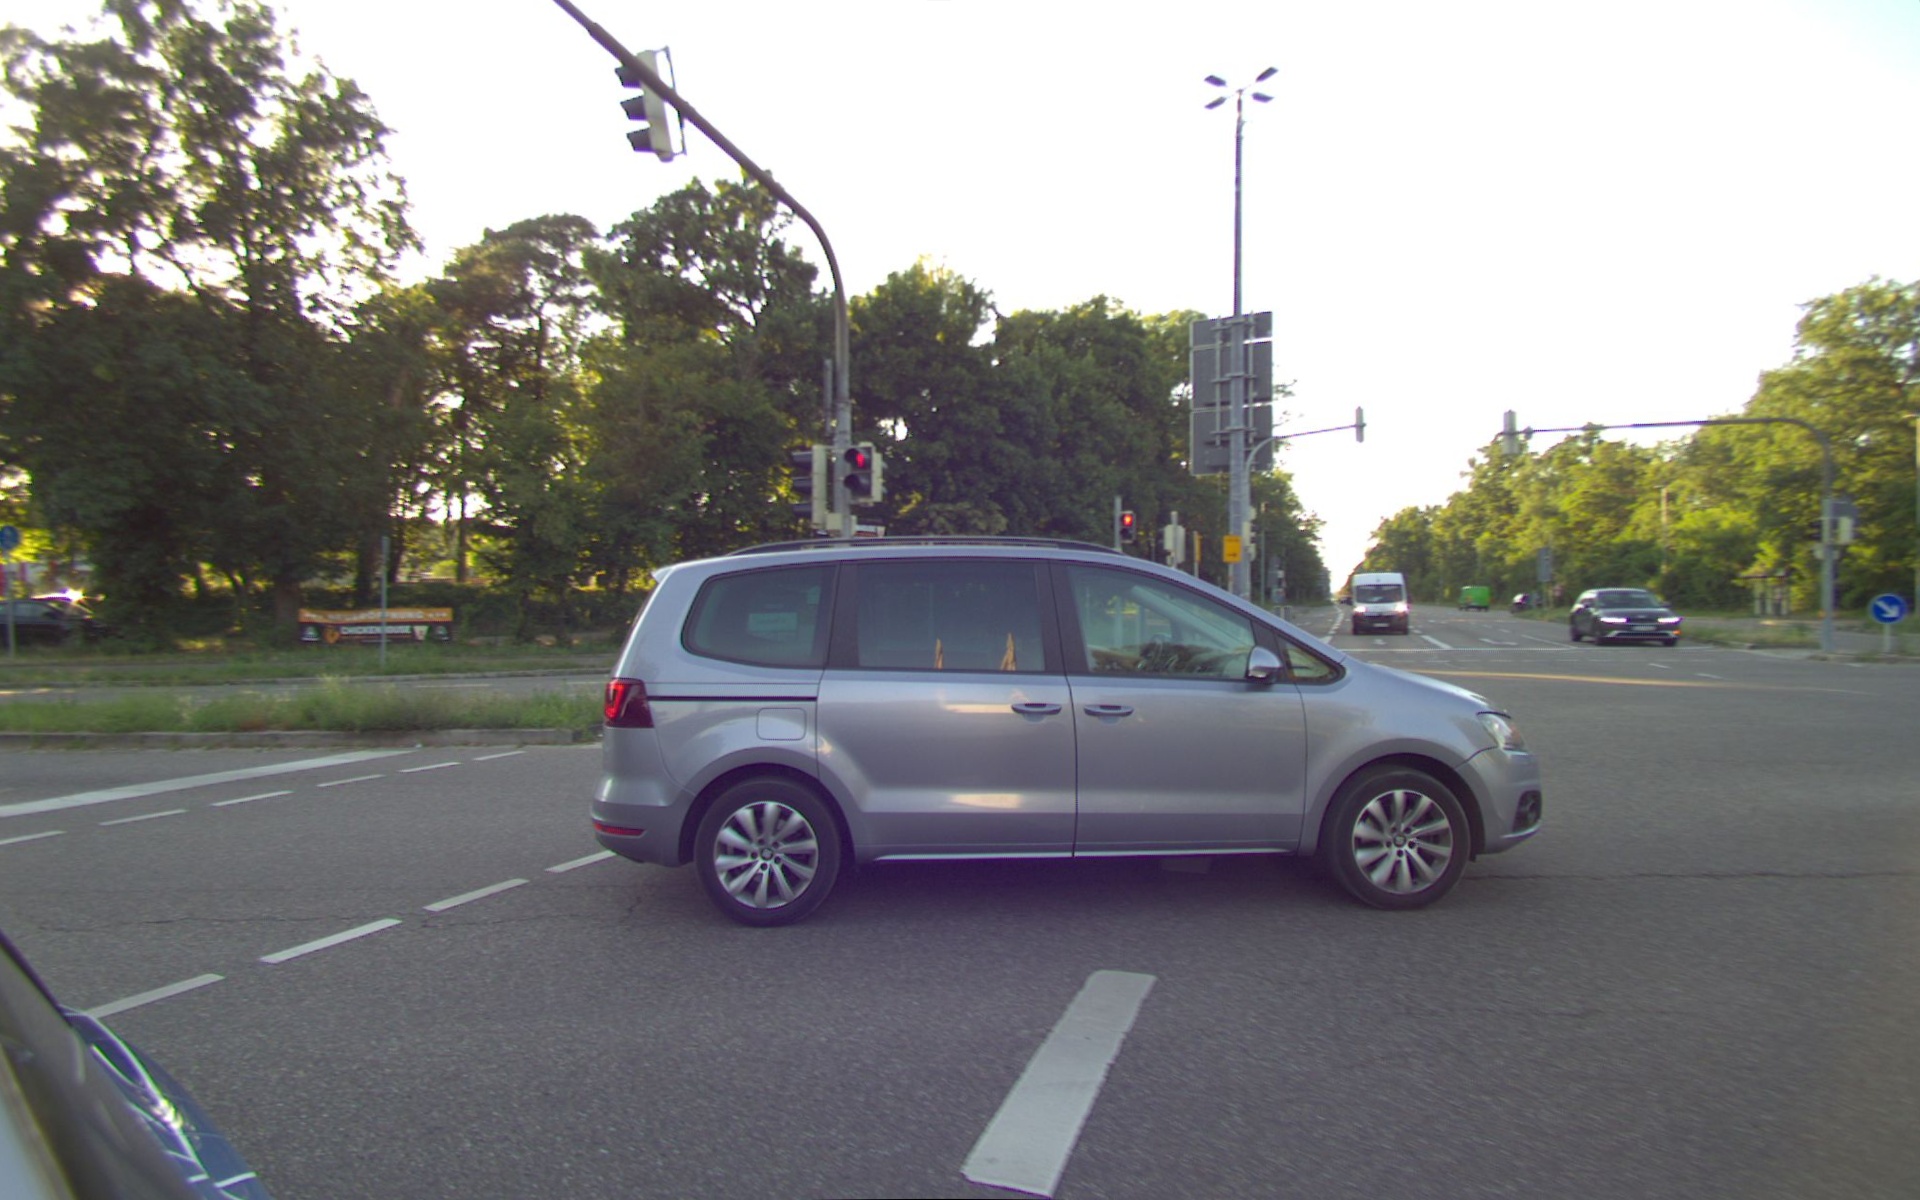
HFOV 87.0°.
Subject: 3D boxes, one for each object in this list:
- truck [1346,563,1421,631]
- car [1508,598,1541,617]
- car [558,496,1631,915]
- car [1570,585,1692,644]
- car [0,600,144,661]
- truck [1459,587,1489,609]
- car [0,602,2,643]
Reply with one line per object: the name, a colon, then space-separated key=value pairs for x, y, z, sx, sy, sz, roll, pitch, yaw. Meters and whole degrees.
truck: x=17.150 y=-0.110 z=41.274 sx=2.587 sy=2.576 sz=5.981 roll=0 pitch=0 yaw=21
car: x=44.724 y=0.560 z=80.199 sx=1.652 sy=1.337 sz=4.020 roll=0 pitch=2 yaw=20
car: x=0.564 y=0.445 z=5.271 sx=4.592 sy=1.737 sz=1.873 roll=-1 pitch=-1 yaw=-2
car: x=18.910 y=0.369 z=28.730 sx=1.988 sy=1.531 sz=3.973 roll=0 pitch=0 yaw=20
car: x=-26.241 y=0.832 z=28.693 sx=4.470 sy=1.671 sz=1.871 roll=1 pitch=0 yaw=-16
truck: x=49.573 y=-0.191 z=97.676 sx=1.984 sy=2.137 sz=3.976 roll=0 pitch=0 yaw=18
car: x=-35.440 y=0.787 z=34.045 sx=4.477 sy=1.417 sz=1.868 roll=0 pitch=0 yaw=-6
